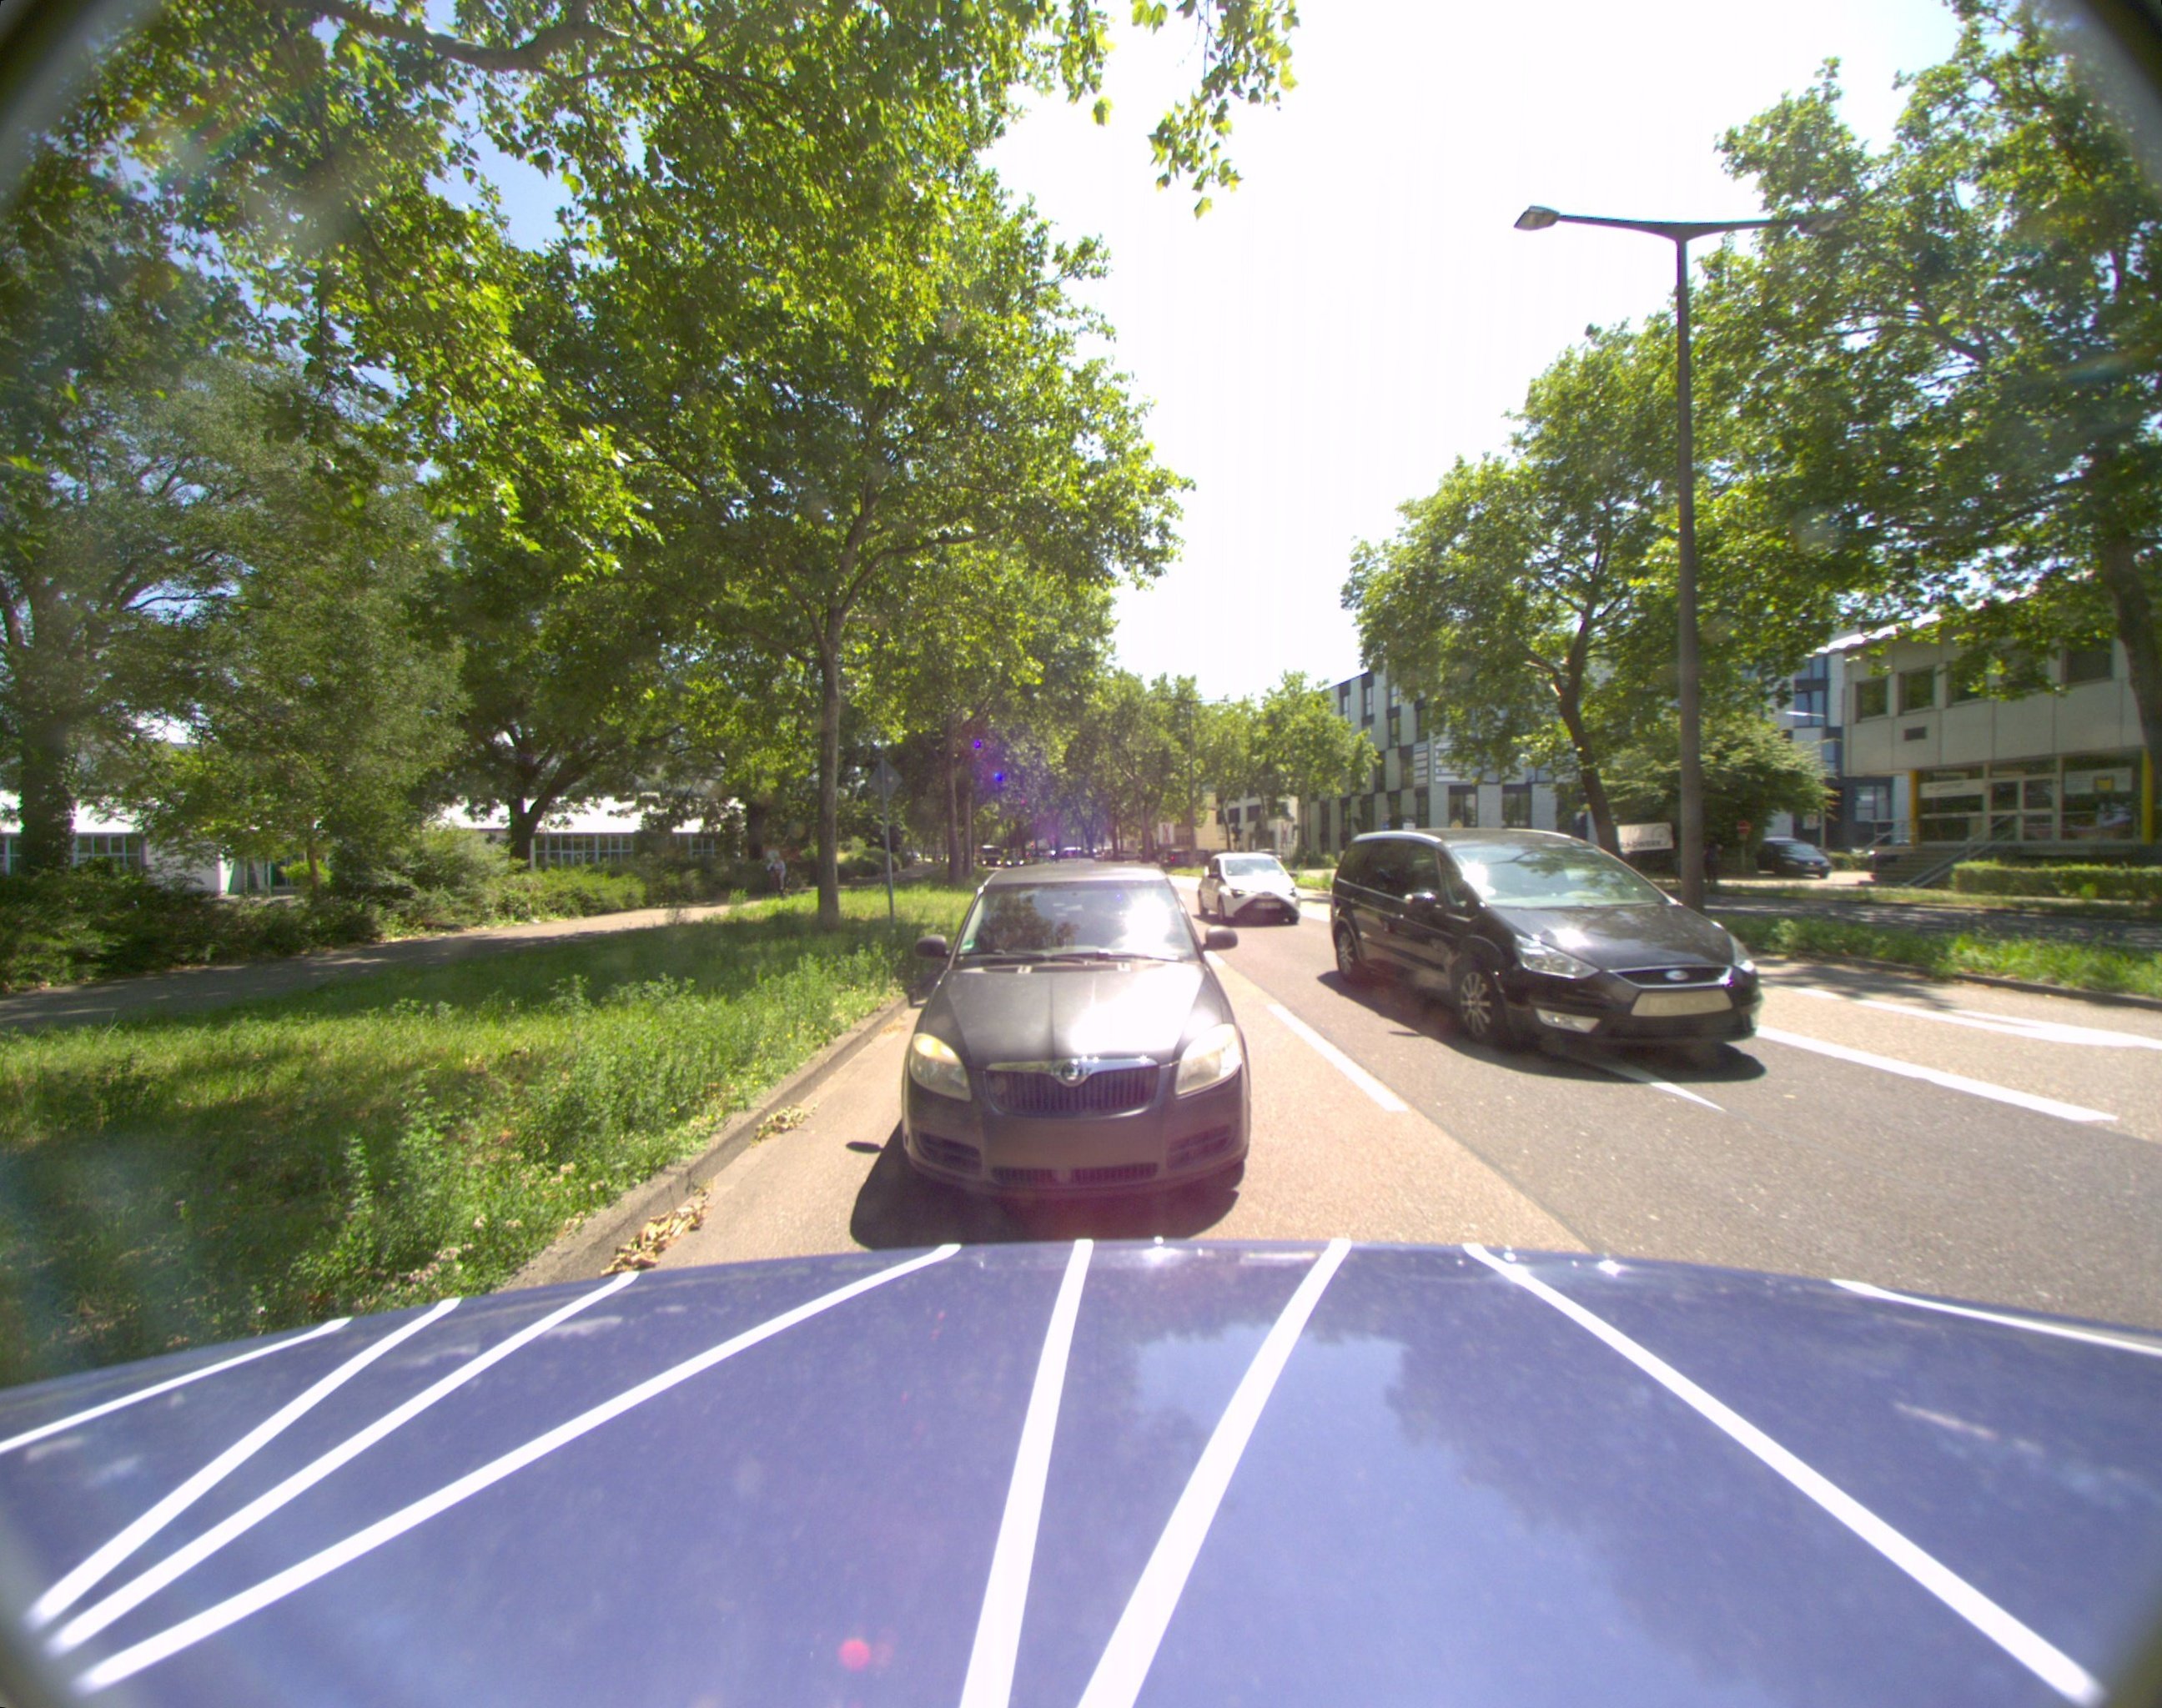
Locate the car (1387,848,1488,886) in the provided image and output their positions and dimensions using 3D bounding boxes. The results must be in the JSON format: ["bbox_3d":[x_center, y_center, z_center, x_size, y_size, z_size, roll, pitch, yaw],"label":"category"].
[{"bbox_3d":[14.667,0.487,31.574,1.858,1.410,4.546,-1,0,-3],"label":"car"}]

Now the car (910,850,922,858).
[{"bbox_3d":[-37.484,-0.010,172.614,2.002,1.827,3.992,-1,0,-21],"label":"car"}]

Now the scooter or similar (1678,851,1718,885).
[{"bbox_3d":[21.844,0.492,26.913,0.680,1.157,0.859,-1,1,-5],"label":"scooter or similar"}]

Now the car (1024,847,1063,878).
[{"bbox_3d":[-2.433,0.539,48.291,2.000,1.871,3.997,-1,0,-9],"label":"car"}]

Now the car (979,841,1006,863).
[{"bbox_3d":[-11.176,-0.226,95.477,2.920,2.639,6.359,-1,0,-11],"label":"car"}]

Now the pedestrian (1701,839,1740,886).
[{"bbox_3d":[21.923,0.286,26.068,0.643,1.551,0.791,-1,1,-6],"label":"pedestrian"}]

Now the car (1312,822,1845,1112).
[{"bbox_3d":[3.783,0.686,7.008,1.859,1.745,4.648,-1,0,0],"label":"car"}]

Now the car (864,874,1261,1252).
[{"bbox_3d":[-0.052,0.945,5.160,1.654,1.453,3.865,-1,0,1],"label":"car"}]

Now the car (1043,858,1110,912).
[{"bbox_3d":[-0.091,0.903,23.590,1.878,1.448,3.785,-2,0,1],"label":"car"}]

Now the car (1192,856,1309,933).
[{"bbox_3d":[3.622,0.802,16.809,1.623,1.437,3.651,-2,0,-2],"label":"car"}]

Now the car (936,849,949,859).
[{"bbox_3d":[-24.996,-0.006,136.987,2.001,1.827,3.995,-1,0,-14],"label":"car"}]

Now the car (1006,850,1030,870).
[{"bbox_3d":[-5.980,0.572,71.849,2.000,1.783,3.997,-1,0,-8],"label":"car"}]

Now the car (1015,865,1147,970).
[{"bbox_3d":[0.021,0.912,12.364,1.791,1.325,3.742,-2,0,1],"label":"car"}]

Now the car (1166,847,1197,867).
[{"bbox_3d":[8.643,0.213,65.558,1.954,1.646,4.620,-1,0,-2],"label":"car"}]

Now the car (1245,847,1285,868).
[{"bbox_3d":[13.254,0.243,54.818,1.737,1.451,3.672,-1,0,-4],"label":"car"}]

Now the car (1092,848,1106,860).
[{"bbox_3d":[2.336,-0.023,98.762,1.537,1.519,2.852,-1,0,-6],"label":"car"}]

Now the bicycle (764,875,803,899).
[{"bbox_3d":[-10.533,1.162,26.984,0.464,0.759,1.670,-1,0,11],"label":"bicycle"}]

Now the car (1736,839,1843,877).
[{"bbox_3d":[32.821,0.157,35.327,1.819,1.638,3.528,-2,1,4],"label":"car"}]

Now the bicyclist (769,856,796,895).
[{"bbox_3d":[-10.596,0.757,26.997,0.600,1.331,0.666,0,1,11],"label":"bicyclist"}]
